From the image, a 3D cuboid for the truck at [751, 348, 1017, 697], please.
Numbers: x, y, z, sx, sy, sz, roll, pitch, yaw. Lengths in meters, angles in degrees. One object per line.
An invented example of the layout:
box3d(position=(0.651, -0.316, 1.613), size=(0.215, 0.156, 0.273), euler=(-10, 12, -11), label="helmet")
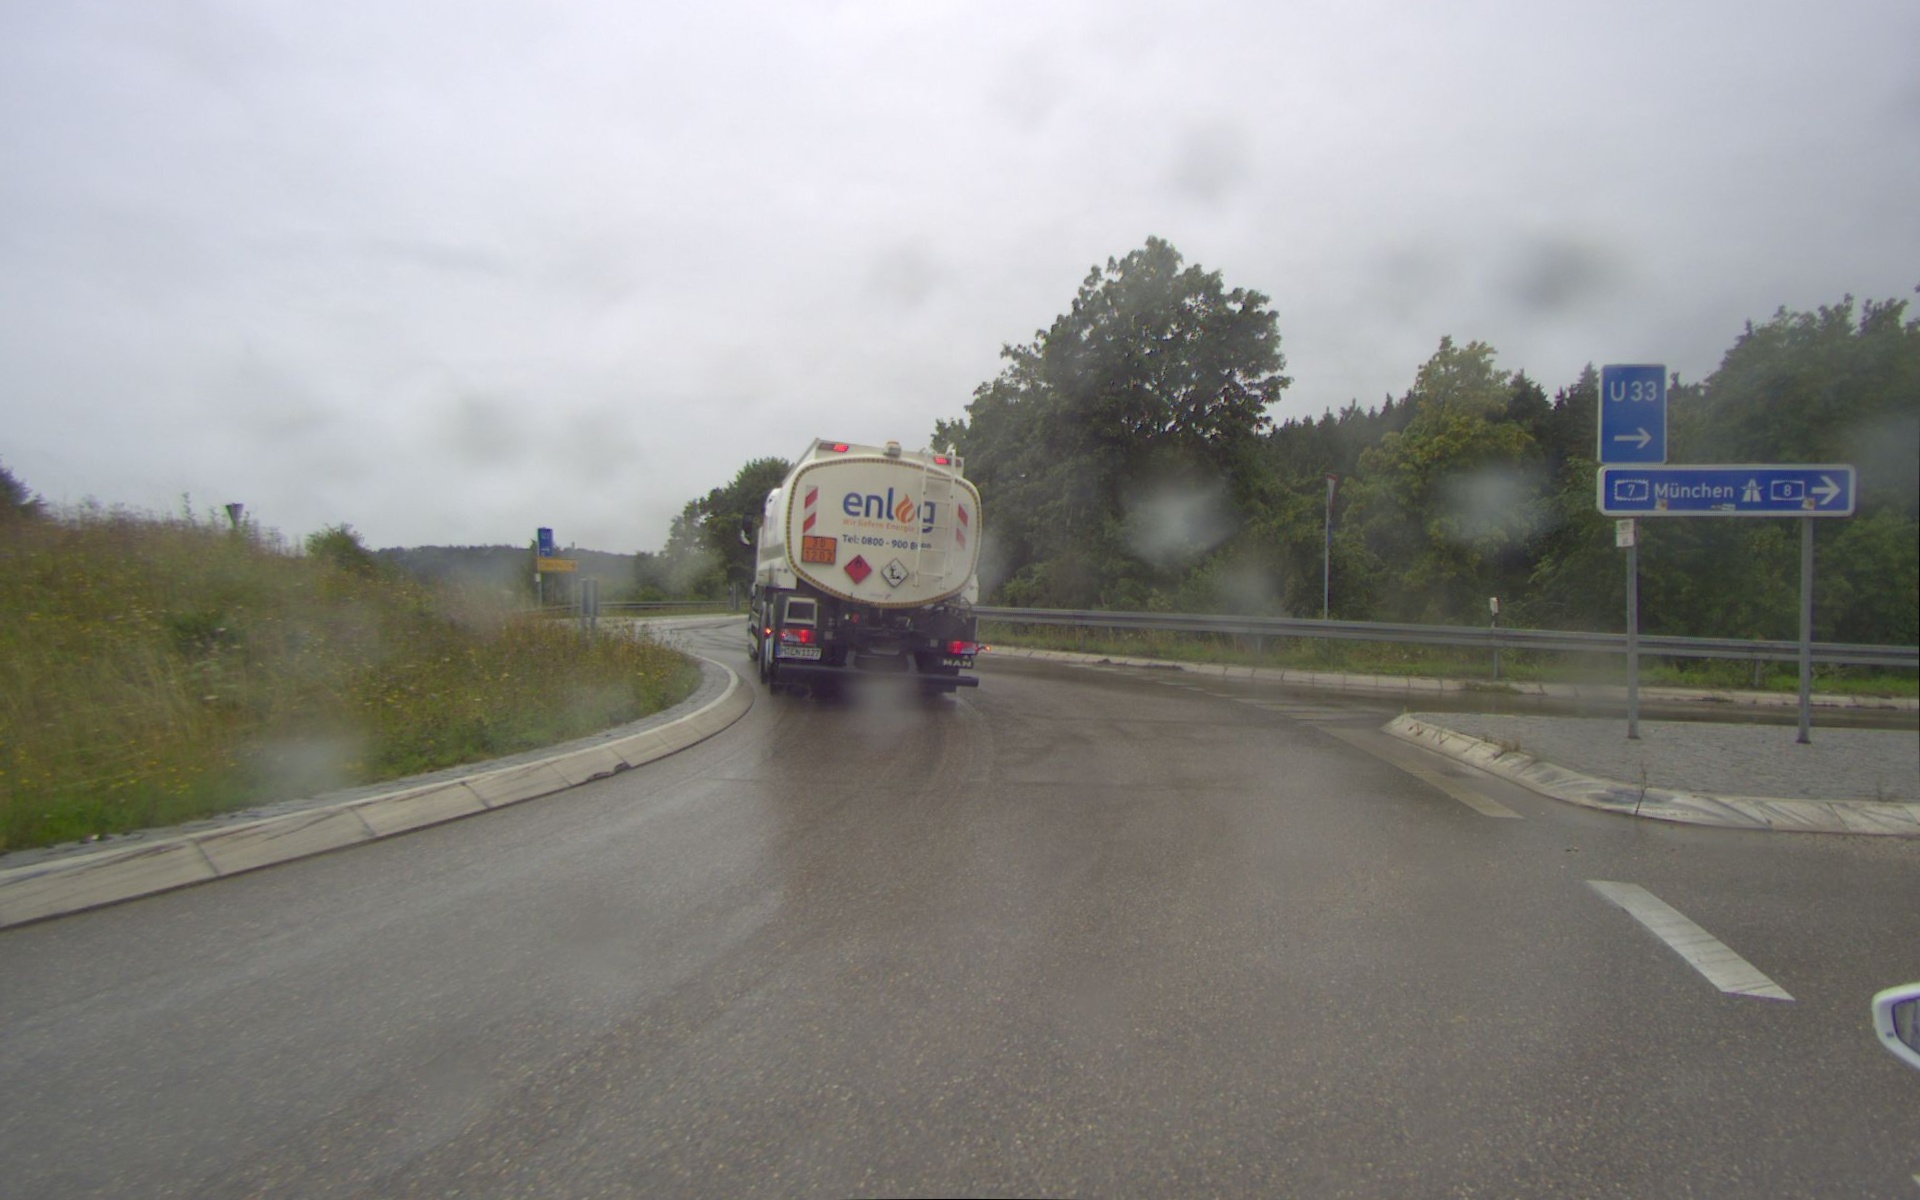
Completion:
box3d(position=(-1.735, -0.988, 15.900), size=(2.996, 3.904, 8.800), euler=(1, 2, -12), label="truck")
